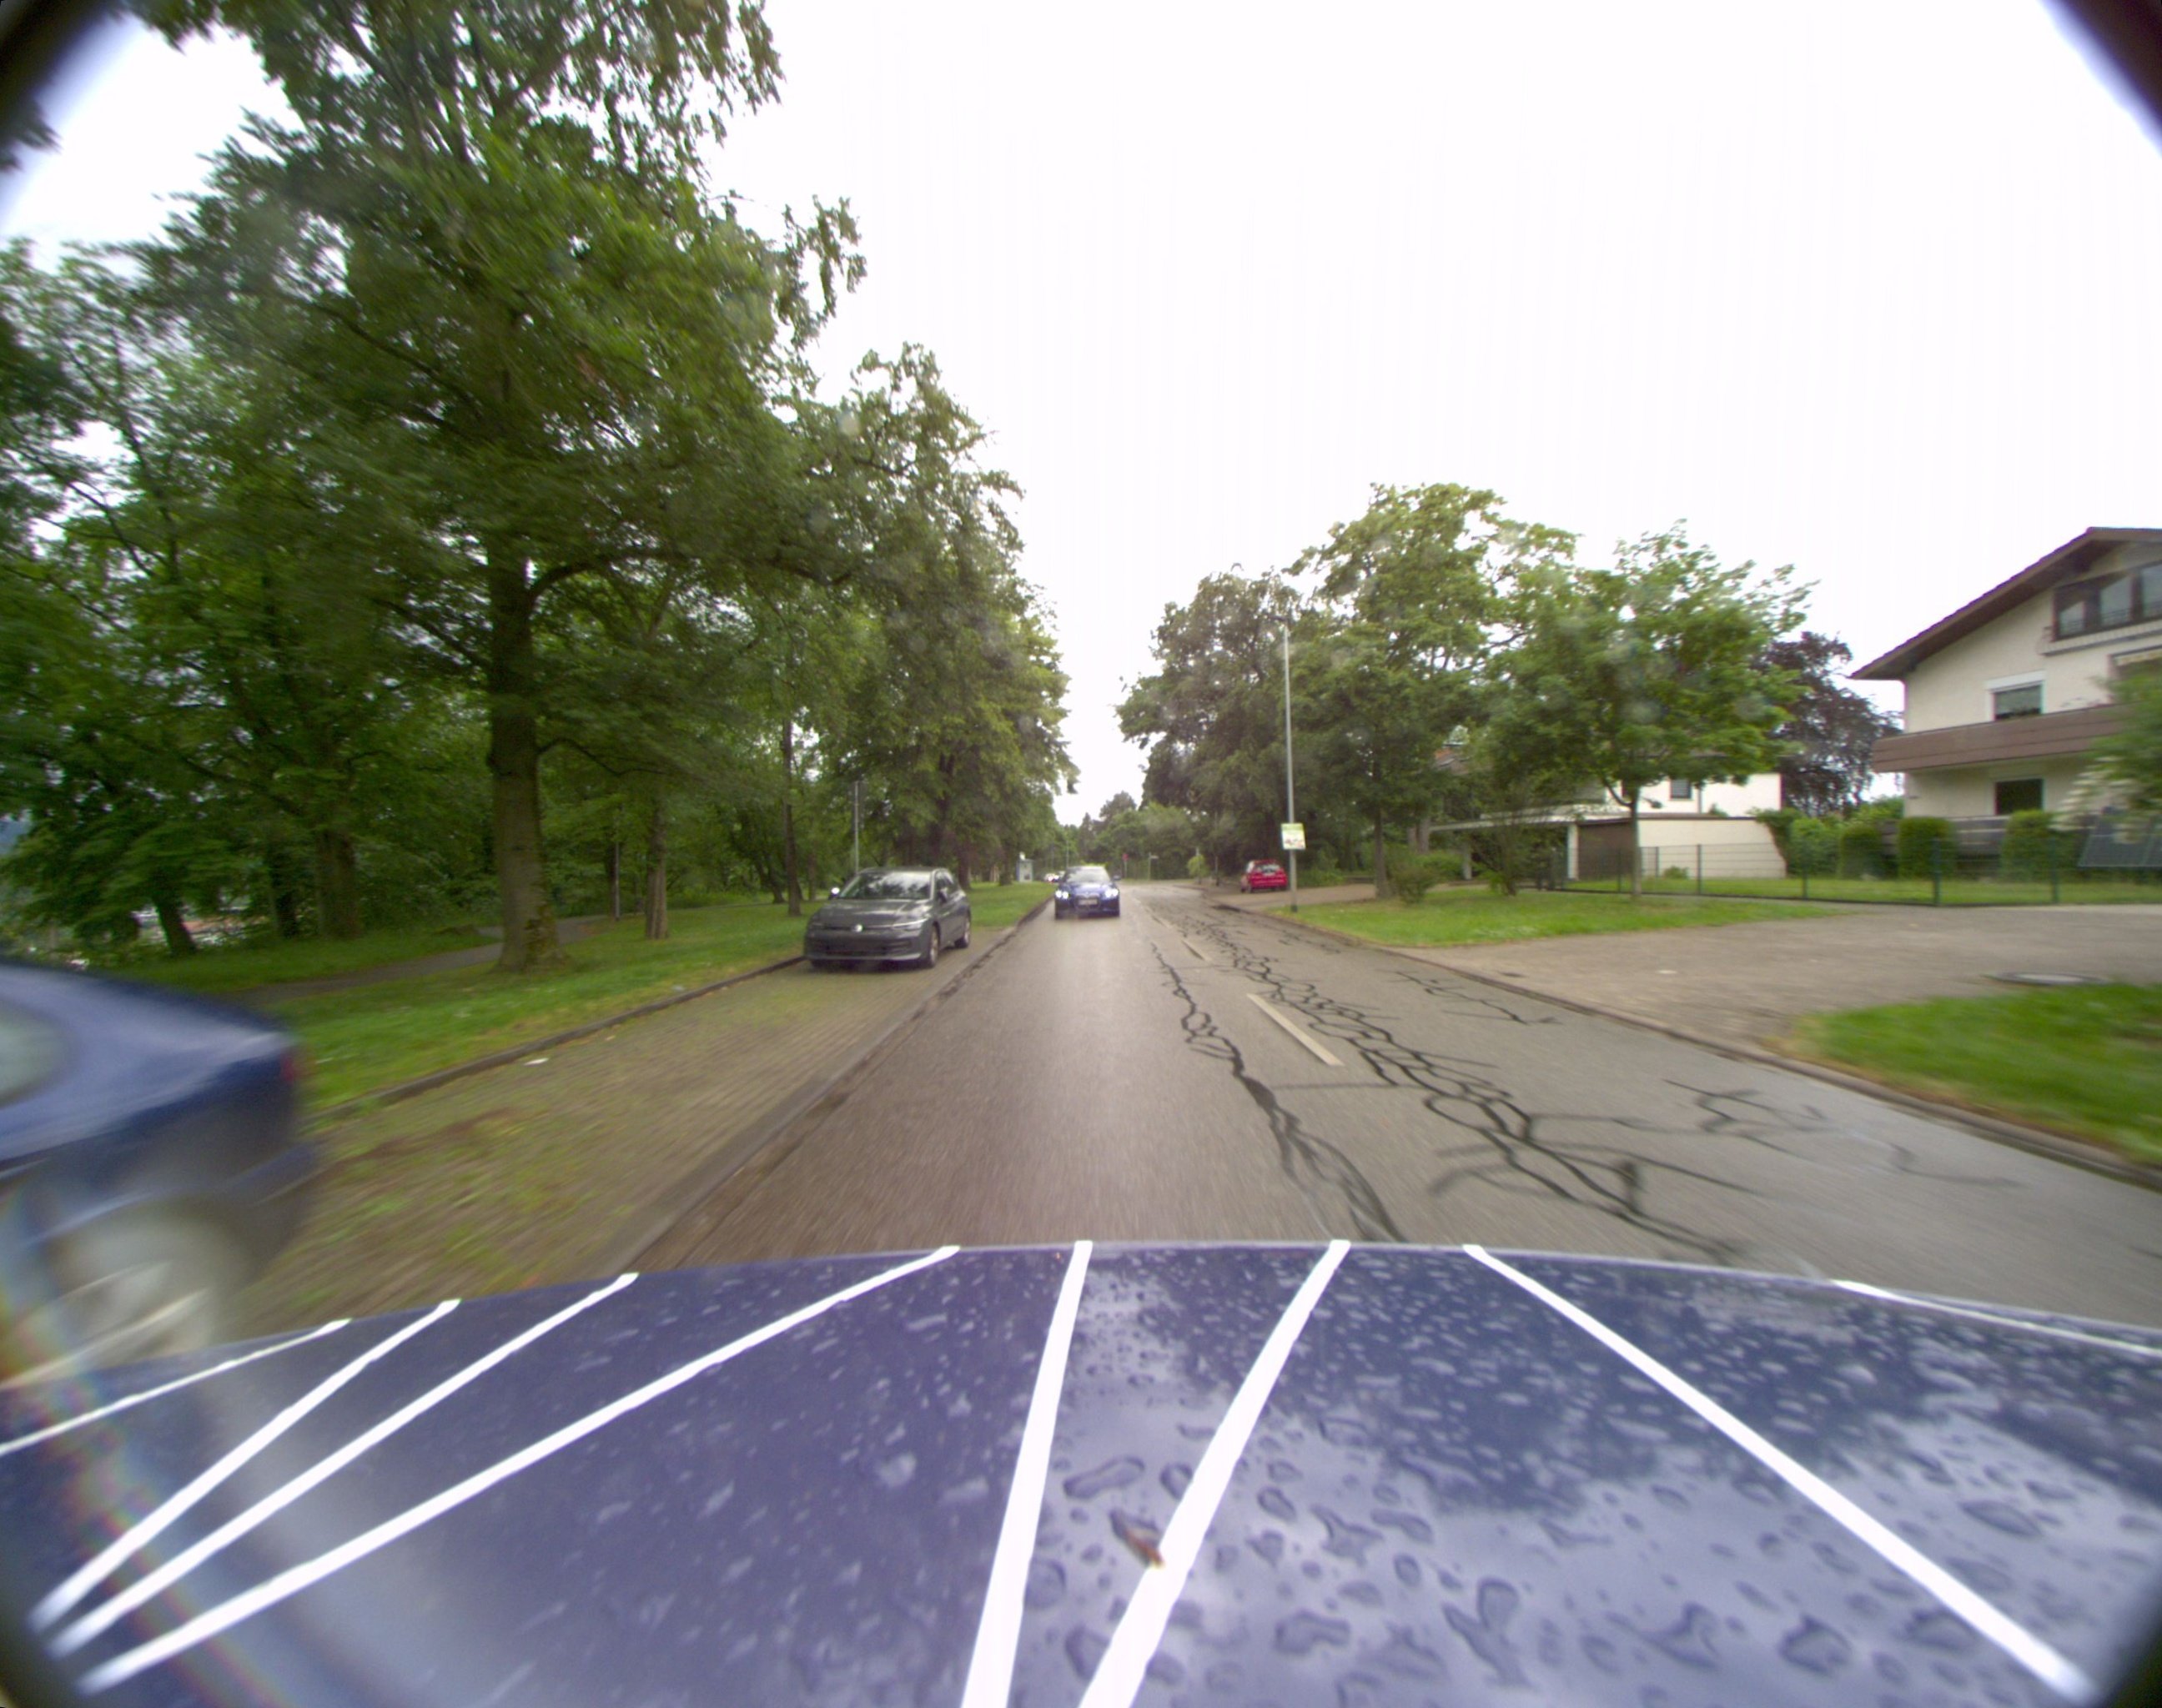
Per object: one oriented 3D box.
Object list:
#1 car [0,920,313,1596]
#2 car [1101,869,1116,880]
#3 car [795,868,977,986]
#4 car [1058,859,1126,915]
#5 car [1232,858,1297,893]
[{"bbox_3d":[-3.346,0.921,0.385,1.747,1.444,4.001,2,0,2],"label":"car"},{"bbox_3d":[3.459,2.608,96.400,1.705,1.401,4.009,1,-2,-2],"label":"car"},{"bbox_3d":[-2.856,1.001,12.110,1.705,1.453,4.217,1,0,1],"label":"car"},{"bbox_3d":[0.271,0.952,22.859,1.839,1.501,4.000,-1,-1,-1],"label":"car"},{"bbox_3d":[8.696,1.012,36.347,1.999,1.507,4.000,-3,-1,-1],"label":"car"}]
